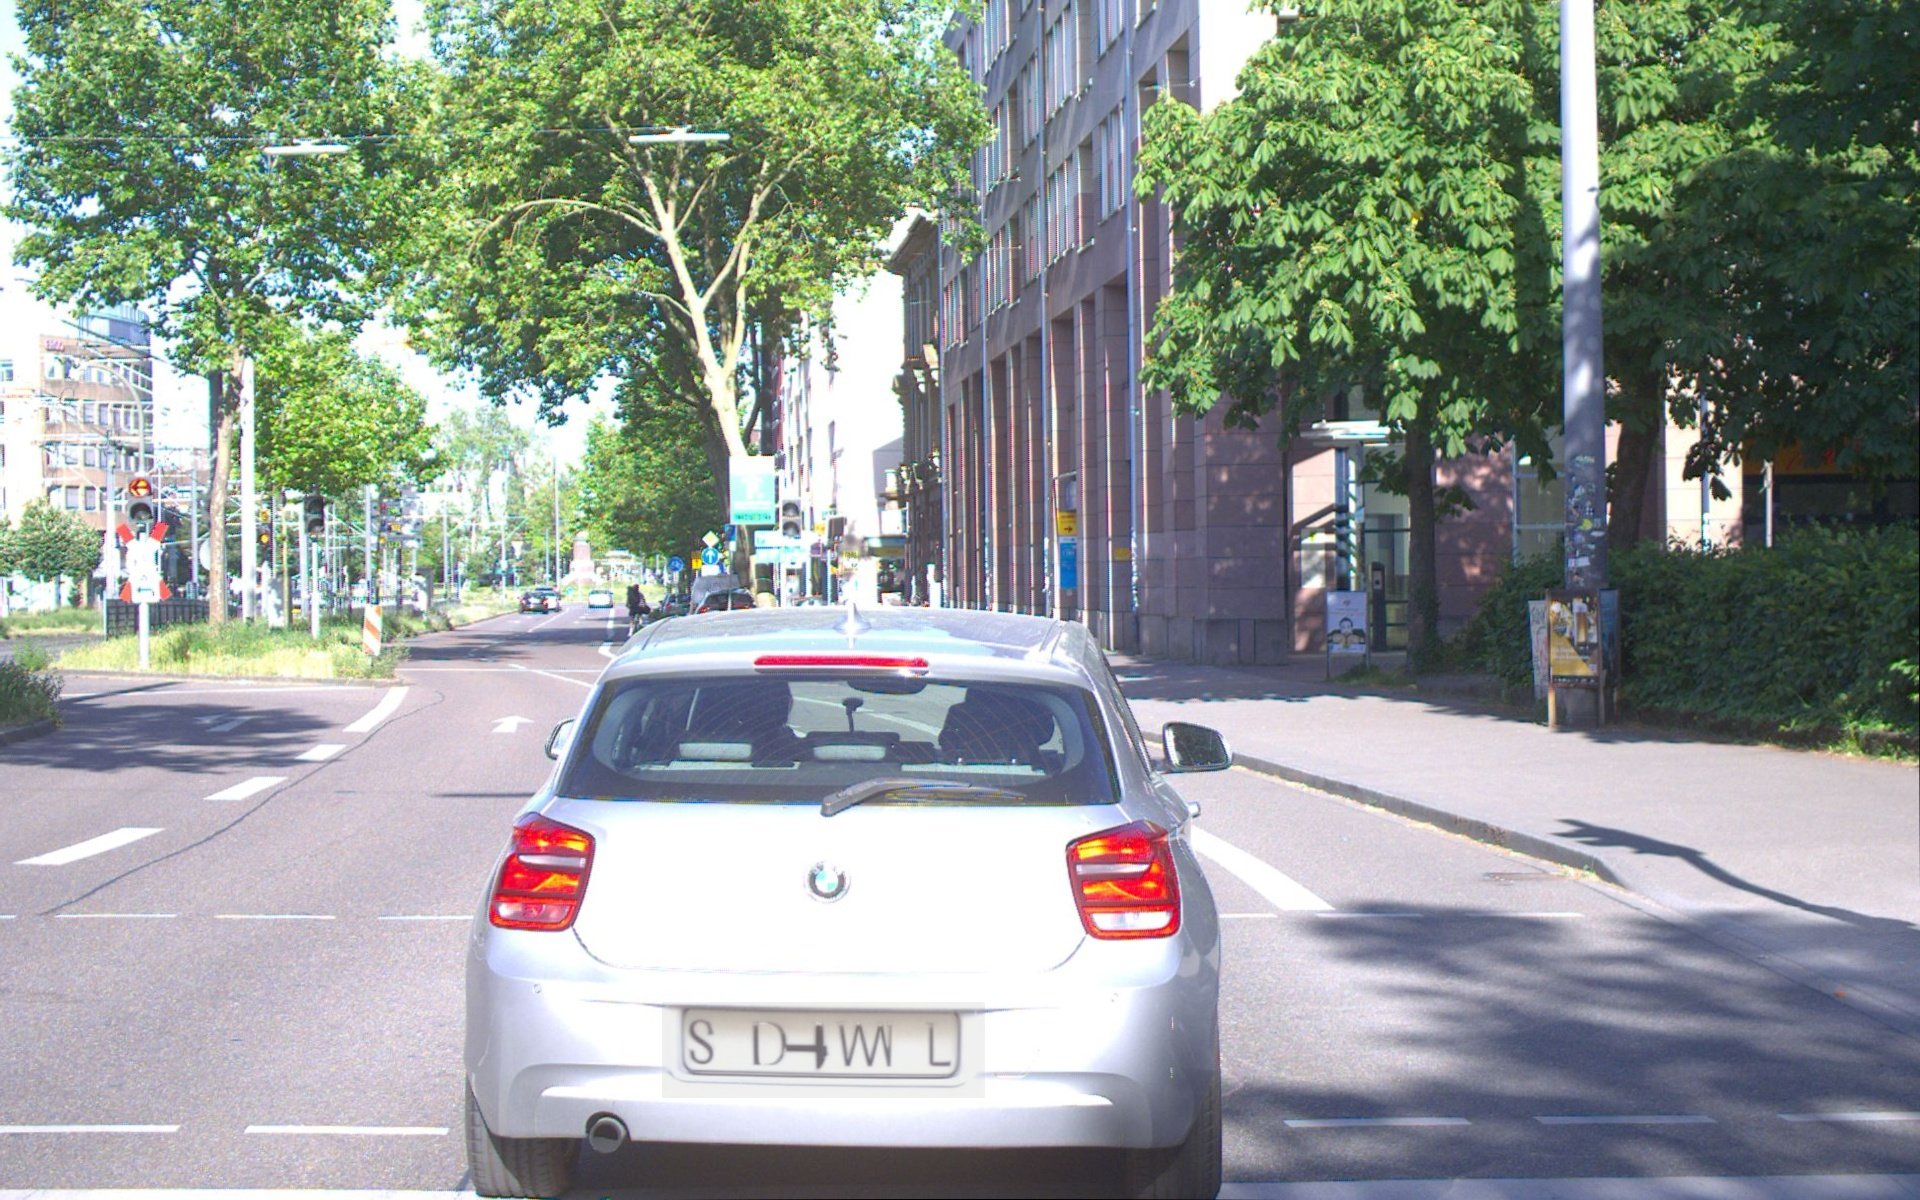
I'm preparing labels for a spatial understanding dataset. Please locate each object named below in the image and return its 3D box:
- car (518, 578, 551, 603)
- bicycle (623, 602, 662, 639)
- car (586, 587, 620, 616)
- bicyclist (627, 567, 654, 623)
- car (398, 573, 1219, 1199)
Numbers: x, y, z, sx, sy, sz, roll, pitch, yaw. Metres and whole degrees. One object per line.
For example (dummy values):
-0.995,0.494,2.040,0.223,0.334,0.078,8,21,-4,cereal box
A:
-26.705,-0.605,215.638,1.993,1.481,4.001,-1,0,-8,car
-9.392,0.603,101.830,0.831,1.038,1.874,-1,0,4,bicycle
-25.732,0.098,248.058,1.993,2.007,4.000,1,-1,0,car
-9.454,-0.157,101.754,0.658,1.652,0.765,-1,0,4,bicyclist
-0.253,0.659,9.209,1.730,1.386,3.840,1,1,2,car
